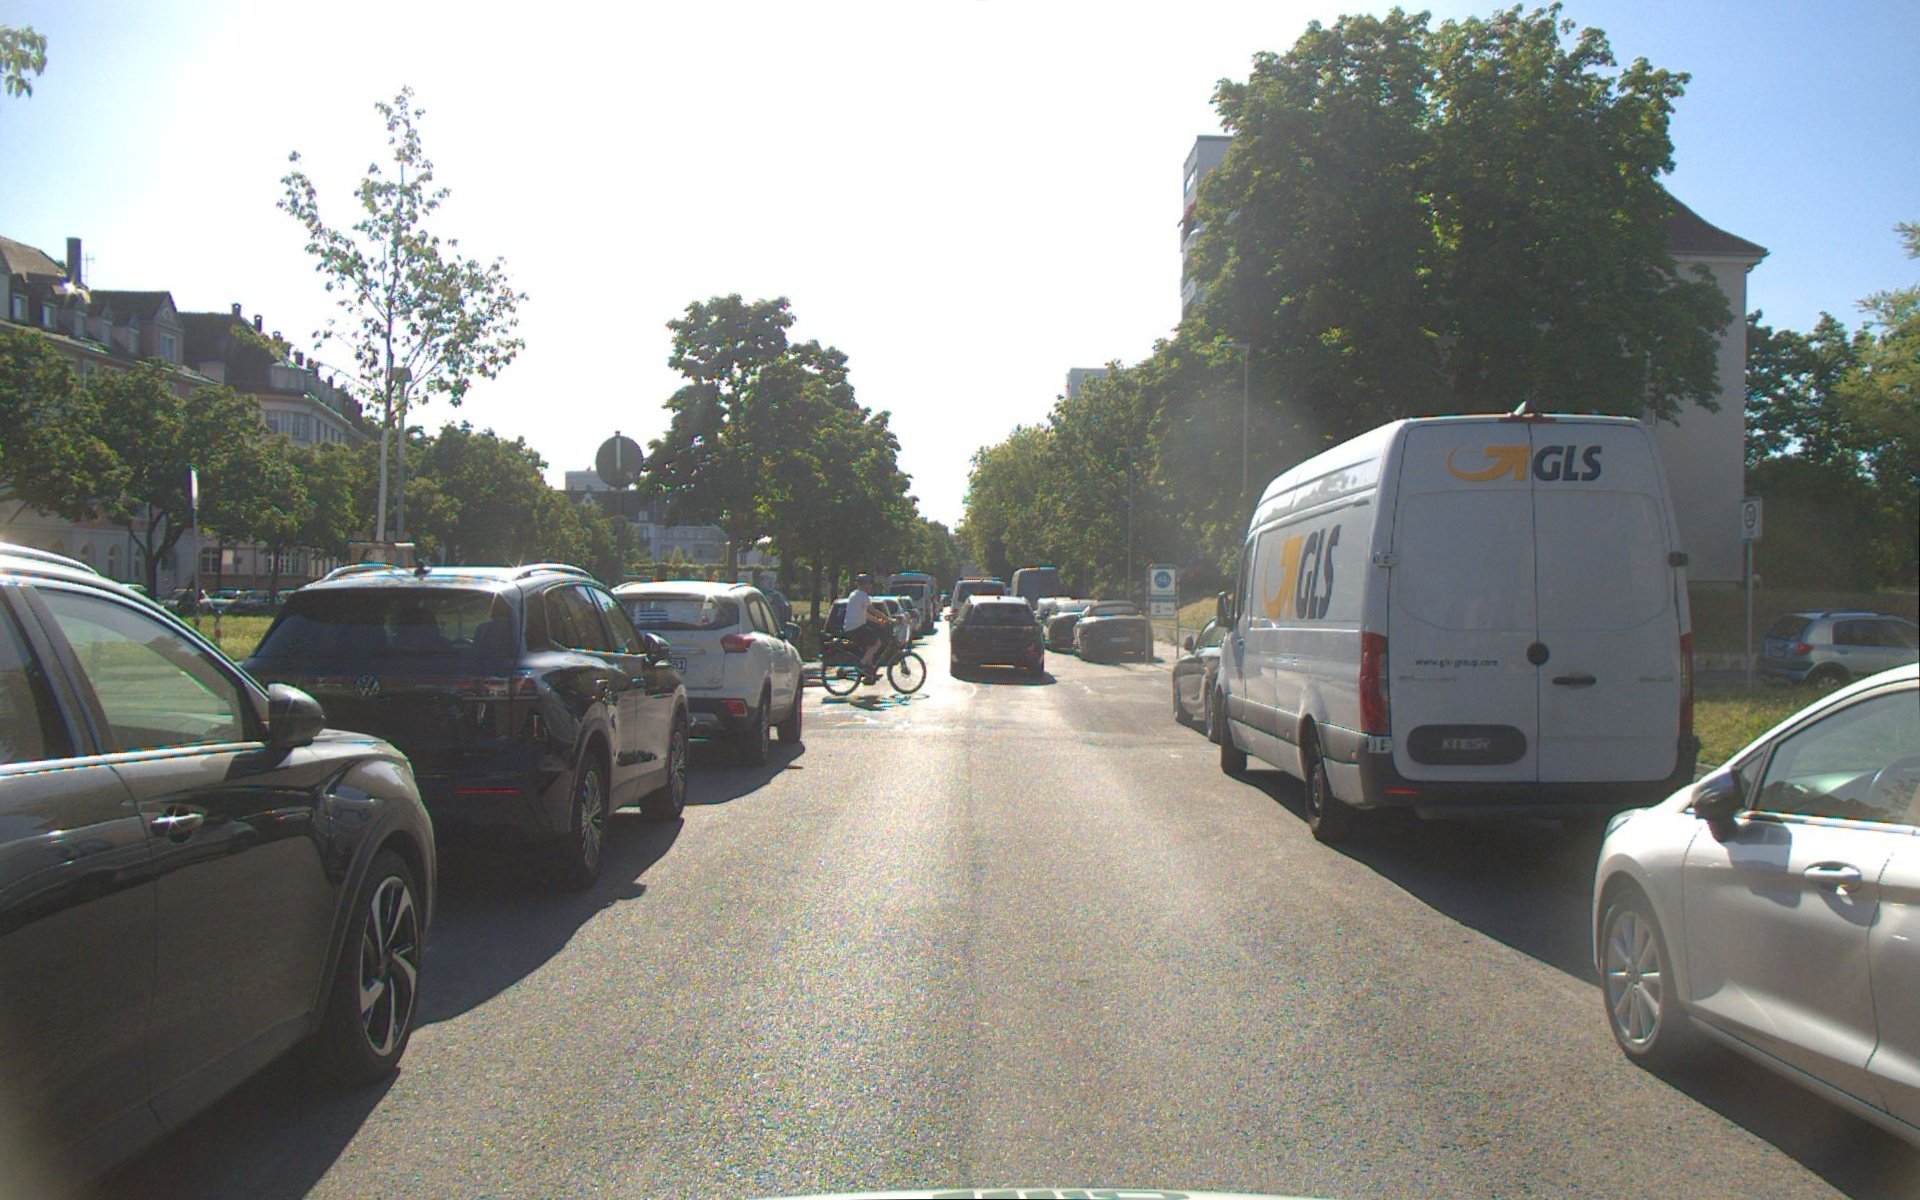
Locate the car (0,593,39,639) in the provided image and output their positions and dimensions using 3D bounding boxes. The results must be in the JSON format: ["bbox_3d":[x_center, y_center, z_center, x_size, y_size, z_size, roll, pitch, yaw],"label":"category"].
[{"bbox_3d":[-36.778,0.600,62.661,1.599,1.716,4.079,1,0,-2],"label":"car"}]

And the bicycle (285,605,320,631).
[{"bbox_3d":[-33.592,0.919,84.547,0.794,1.274,2.633,2,-1,-2],"label":"bicycle"}]

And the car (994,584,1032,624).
[{"bbox_3d":[3.151,0.234,99.465,2.118,2.332,5.265,0,0,0],"label":"car"}]

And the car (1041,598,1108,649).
[{"bbox_3d":[3.288,0.663,48.231,1.742,1.395,4.127,1,0,1],"label":"car"}]

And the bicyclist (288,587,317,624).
[{"bbox_3d":[-33.602,0.308,84.571,0.922,1.869,1.449,0,-1,-1],"label":"bicyclist"}]

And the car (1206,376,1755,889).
[{"bbox_3d":[3.350,0.164,12.459,2.098,2.760,6.842,-1,0,1],"label":"car"}]

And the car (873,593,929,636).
[{"bbox_3d":[-2.139,0.510,60.796,1.795,1.526,4.127,1,0,1],"label":"car"}]

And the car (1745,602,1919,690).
[{"bbox_3d":[15.817,0.781,28.528,3.810,1.454,1.657,0,0,-4],"label":"car"}]

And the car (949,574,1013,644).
[{"bbox_3d":[0.663,0.263,51.212,1.855,2.026,4.011,-1,0,1],"label":"car"}]

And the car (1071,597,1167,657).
[{"bbox_3d":[3.996,0.639,42.275,2.081,1.361,4.506,-2,0,1],"label":"car"}]

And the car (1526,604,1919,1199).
[{"bbox_3d":[3.214,0.804,4.489,1.811,1.491,4.201,2,0,-1],"label":"car"}]

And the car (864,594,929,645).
[{"bbox_3d":[-1.916,0.560,50.997,1.742,1.487,4.127,1,0,1],"label":"car"}]

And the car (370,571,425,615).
[{"bbox_3d":[-37.162,-0.479,109.469,1.877,2.792,5.622,1,0,-2],"label":"car"}]

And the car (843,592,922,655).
[{"bbox_3d":[-1.971,0.585,43.068,1.740,1.521,3.875,-1,0,1],"label":"car"}]

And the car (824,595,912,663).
[{"bbox_3d":[-2.092,0.654,38.546,1.712,1.449,3.917,-2,-1,1],"label":"car"}]

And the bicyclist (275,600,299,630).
[{"bbox_3d":[-33.351,0.749,81.987,0.723,1.462,0.942,-4,-1,0],"label":"bicyclist"}]

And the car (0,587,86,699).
[{"bbox_3d":[-14.362,0.562,22.446,4.277,1.433,1.906,0,2,-25],"label":"car"}]

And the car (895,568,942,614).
[{"bbox_3d":[-2.471,-0.527,101.132,2.562,2.691,6.115,1,0,1],"label":"car"}]

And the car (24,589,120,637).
[{"bbox_3d":[-36.829,0.506,68.707,1.701,1.941,4.459,0,0,-2],"label":"car"}]

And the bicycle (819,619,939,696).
[{"bbox_3d":[-1.254,0.878,25.552,1.734,1.147,0.659,1,0,-20],"label":"bicycle"}]

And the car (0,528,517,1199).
[{"bbox_3d":[-2.589,0.704,3.884,1.782,1.638,4.739,-1,0,0],"label":"car"}]

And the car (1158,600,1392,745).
[{"bbox_3d":[3.675,0.778,20.114,1.918,1.507,4.498,-1,0,-1],"label":"car"}]

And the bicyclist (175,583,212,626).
[{"bbox_3d":[-33.280,0.207,71.795,0.922,1.869,1.449,0,-1,0],"label":"bicyclist"}]

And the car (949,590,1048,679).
[{"bbox_3d":[0.740,0.617,31.826,1.743,1.558,4.001,2,0,1],"label":"car"}]

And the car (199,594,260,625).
[{"bbox_3d":[-42.534,0.531,96.416,1.822,1.779,3.999,1,0,-1],"label":"car"}]

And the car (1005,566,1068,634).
[{"bbox_3d":[3.170,-0.017,69.776,2.120,2.736,5.413,0,0,-3],"label":"car"}]

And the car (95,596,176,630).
[{"bbox_3d":[-36.841,0.563,73.993,1.659,1.454,3.775,1,0,1],"label":"car"}]

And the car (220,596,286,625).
[{"bbox_3d":[-37.045,0.540,86.734,1.808,1.465,3.774,1,0,0],"label":"car"}]

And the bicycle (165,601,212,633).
[{"bbox_3d":[-33.319,0.727,71.465,0.794,1.274,2.634,1,1,-1],"label":"bicycle"}]

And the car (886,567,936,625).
[{"bbox_3d":[-2.208,-0.177,75.674,2.055,2.540,4.127,1,0,1],"label":"car"}]

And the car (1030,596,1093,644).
[{"bbox_3d":[3.316,0.633,54.605,1.743,1.513,4.031,0,0,-1],"label":"car"}]

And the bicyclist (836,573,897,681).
[{"bbox_3d":[-1.444,0.409,25.469,0.777,1.624,0.692,1,0,-20],"label":"bicyclist"}]

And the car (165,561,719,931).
[{"bbox_3d":[-2.727,0.662,9.972,1.805,1.667,4.715,-1,0,0],"label":"car"}]

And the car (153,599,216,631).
[{"bbox_3d":[-36.859,0.685,78.680,1.352,1.465,3.342,1,0,1],"label":"car"}]

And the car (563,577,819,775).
[{"bbox_3d":[-2.508,0.650,16.430,1.720,1.676,4.288,-1,0,1],"label":"car"}]

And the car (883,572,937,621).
[{"bbox_3d":[-2.064,-0.135,69.263,2.055,1.976,4.127,1,0,0],"label":"car"}]

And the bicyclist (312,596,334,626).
[{"bbox_3d":[-31.913,0.543,82.832,0.723,1.463,0.942,0,-1,0],"label":"bicyclist"}]
